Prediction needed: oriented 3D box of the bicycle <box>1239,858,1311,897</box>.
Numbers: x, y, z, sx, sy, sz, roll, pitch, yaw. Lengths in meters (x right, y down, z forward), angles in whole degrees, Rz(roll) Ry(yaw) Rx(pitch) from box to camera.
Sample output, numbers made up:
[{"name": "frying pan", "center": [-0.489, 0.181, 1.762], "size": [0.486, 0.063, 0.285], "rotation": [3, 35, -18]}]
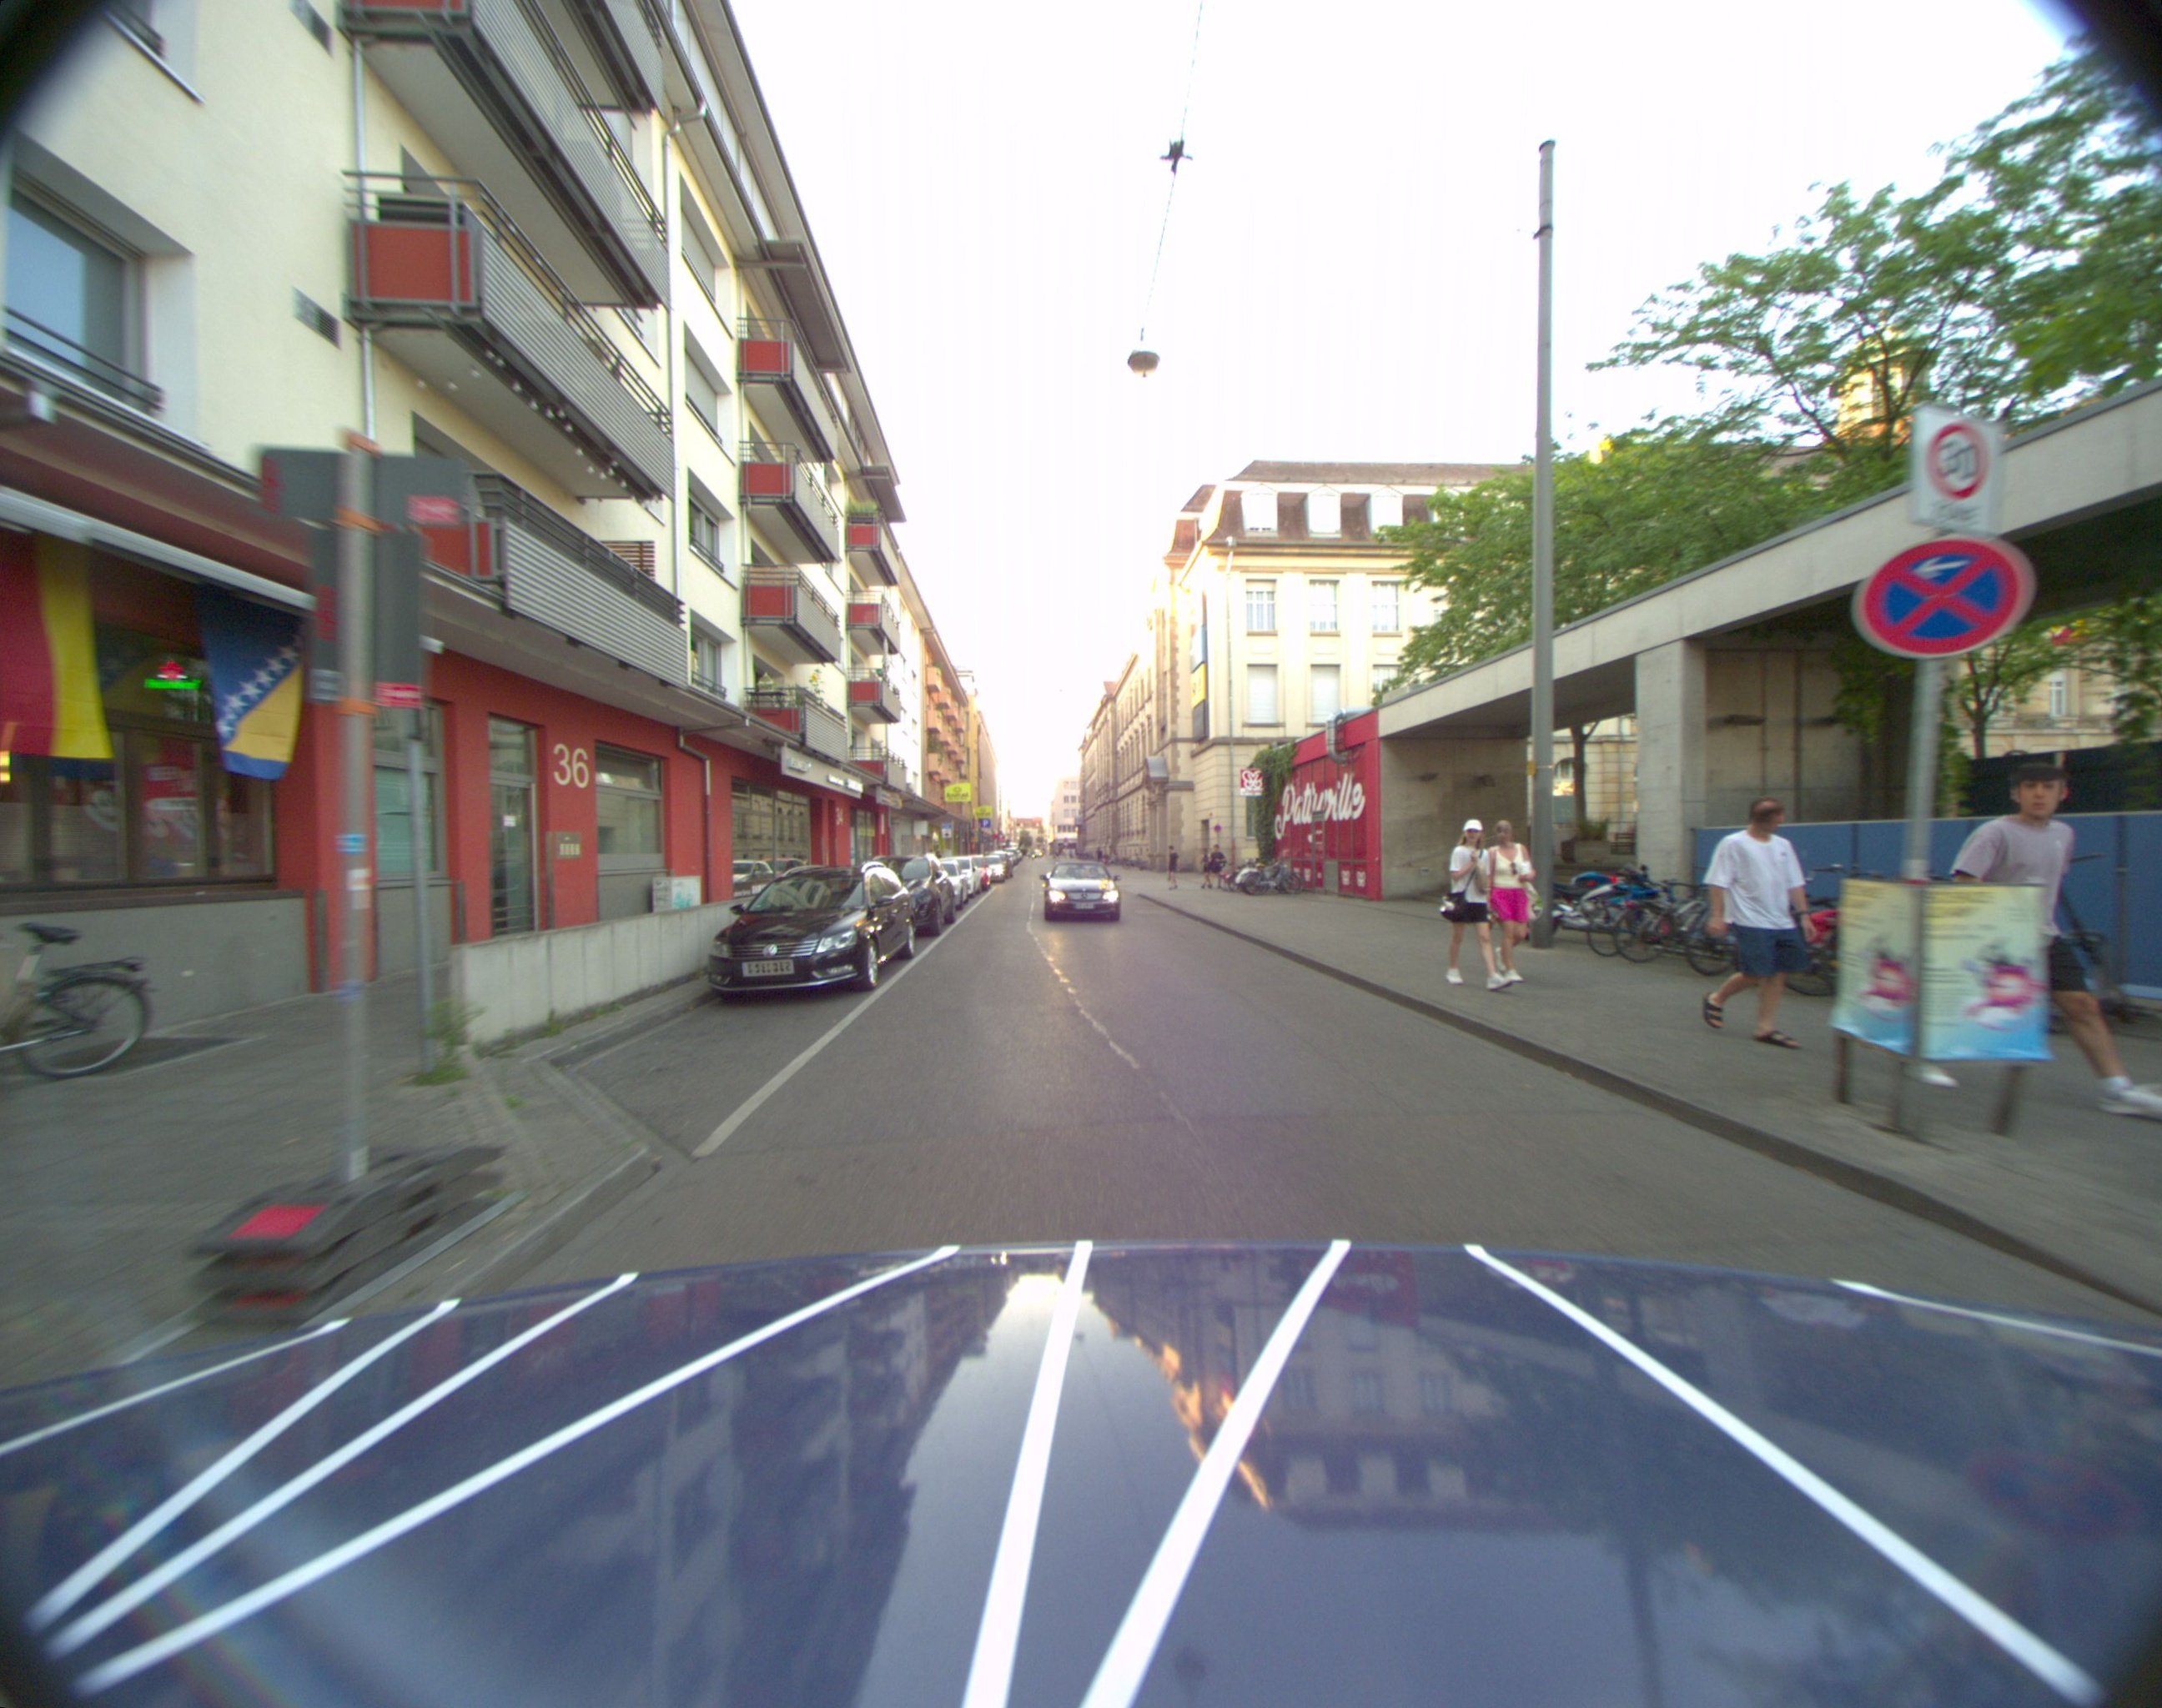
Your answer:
[{"name": "bicycle", "center": [6.244, 0.751, 24.488], "size": [2.180, 1.149, 0.445], "rotation": [-2, 1, 3]}]

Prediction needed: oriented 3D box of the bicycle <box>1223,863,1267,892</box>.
[{"name": "bicycle", "center": [5.945, 0.860, 27.530], "size": [1.501, 0.973, 0.312], "rotation": [-2, 1, -11]}]

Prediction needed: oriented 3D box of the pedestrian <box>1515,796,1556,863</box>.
[{"name": "pedestrian", "center": [12.936, -0.686, 21.652], "size": [0.943, 1.816, 0.834], "rotation": [-2, 1, 31]}]

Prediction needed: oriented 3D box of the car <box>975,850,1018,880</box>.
[{"name": "car", "center": [-5.017, 0.632, 45.688], "size": [1.998, 1.607, 4.367], "rotation": [-2, 0, 1]}]

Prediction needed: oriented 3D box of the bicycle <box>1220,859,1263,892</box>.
[{"name": "bicycle", "center": [5.865, 0.769, 27.844], "size": [1.501, 1.134, 0.312], "rotation": [-2, 1, -11]}]

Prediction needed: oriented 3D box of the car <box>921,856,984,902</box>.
[{"name": "car", "center": [-4.623, 0.865, 27.860], "size": [1.768, 1.468, 3.946], "rotation": [-2, 0, -3]}]

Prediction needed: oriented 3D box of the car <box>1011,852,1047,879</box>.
[{"name": "car", "center": [-3.031, 0.627, 45.225], "size": [1.897, 1.468, 4.300], "rotation": [-2, 0, -1]}]

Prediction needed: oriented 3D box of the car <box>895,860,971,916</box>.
[{"name": "car", "center": [-4.277, 0.930, 22.487], "size": [1.753, 1.395, 3.965], "rotation": [-2, 0, -5]}]

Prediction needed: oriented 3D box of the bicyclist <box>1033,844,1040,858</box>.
[{"name": "bicyclist", "center": [-6.674, -0.467, 113.904], "size": [1.045, 2.002, 1.182], "rotation": [-1, 1, -1]}]

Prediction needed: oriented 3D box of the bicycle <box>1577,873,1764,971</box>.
[{"name": "bicycle", "center": [7.231, 0.818, 9.356], "size": [1.872, 1.081, 0.550], "rotation": [-2, 1, -2]}]

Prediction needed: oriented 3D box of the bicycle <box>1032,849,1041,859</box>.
[{"name": "bicycle", "center": [-6.659, -0.033, 113.954], "size": [1.038, 1.513, 2.822], "rotation": [-1, 1, 1]}]

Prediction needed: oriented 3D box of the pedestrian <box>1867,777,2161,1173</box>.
[{"name": "pedestrian", "center": [5.187, 0.568, 4.074], "size": [0.984, 1.872, 0.890], "rotation": [-2, 1, -1]}]

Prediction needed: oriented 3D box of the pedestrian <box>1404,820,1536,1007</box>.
[{"name": "pedestrian", "center": [3.959, 0.576, 7.804], "size": [0.851, 1.783, 0.869], "rotation": [-2, 1, -1]}]

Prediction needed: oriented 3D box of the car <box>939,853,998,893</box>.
[{"name": "car", "center": [-4.689, 0.753, 32.291], "size": [1.867, 1.468, 4.393], "rotation": [-2, 0, -1]}]

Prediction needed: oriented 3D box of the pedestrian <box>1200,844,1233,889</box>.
[{"name": "pedestrian", "center": [5.306, 0.483, 29.828], "size": [0.922, 1.717, 0.831], "rotation": [-2, 1, -35]}]

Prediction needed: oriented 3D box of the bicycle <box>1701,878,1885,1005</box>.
[{"name": "bicycle", "center": [6.876, 0.824, 7.351], "size": [1.497, 1.105, 0.410], "rotation": [-2, 1, -7]}]

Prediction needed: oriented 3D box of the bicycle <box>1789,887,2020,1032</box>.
[{"name": "bicycle", "center": [6.992, 0.863, 6.474], "size": [1.497, 1.082, 0.547], "rotation": [-2, 1, -7]}]

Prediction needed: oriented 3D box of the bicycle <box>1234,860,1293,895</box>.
[{"name": "bicycle", "center": [6.062, 0.766, 25.300], "size": [1.844, 1.077, 0.354], "rotation": [-2, 1, 3]}]

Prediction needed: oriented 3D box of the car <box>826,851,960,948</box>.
[{"name": "car", "center": [-3.758, 0.818, 15.948], "size": [1.884, 1.689, 4.136], "rotation": [-2, 0, -3]}]

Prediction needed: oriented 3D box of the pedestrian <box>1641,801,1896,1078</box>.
[{"name": "pedestrian", "center": [4.853, 0.558, 5.442], "size": [0.984, 1.783, 0.890], "rotation": [-2, 1, -1]}]

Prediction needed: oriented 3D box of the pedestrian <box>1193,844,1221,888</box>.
[{"name": "pedestrian", "center": [5.117, 0.470, 30.804], "size": [0.921, 1.717, 0.702], "rotation": [-2, 1, -8]}]

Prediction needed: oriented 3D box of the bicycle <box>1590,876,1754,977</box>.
[{"name": "bicycle", "center": [6.830, 0.831, 8.818], "size": [1.496, 1.082, 0.436], "rotation": [-2, 1, 4]}]

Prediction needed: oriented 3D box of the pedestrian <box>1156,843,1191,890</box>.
[{"name": "pedestrian", "center": [3.747, 0.508, 30.772], "size": [1.009, 1.816, 0.944], "rotation": [-3, 1, -25]}]

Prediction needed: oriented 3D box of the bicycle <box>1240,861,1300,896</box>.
[{"name": "bicycle", "center": [6.161, 0.794, 24.852], "size": [1.844, 1.077, 0.354], "rotation": [-2, 1, 3]}]

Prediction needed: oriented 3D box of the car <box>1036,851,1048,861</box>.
[{"name": "car", "center": [-7.907, 0.374, 153.512], "size": [1.998, 2.002, 4.000], "rotation": [-1, 1, 1]}]

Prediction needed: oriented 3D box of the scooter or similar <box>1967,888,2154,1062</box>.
[{"name": "scooter or similar", "center": [7.202, 0.834, 5.578], "size": [1.499, 1.082, 0.410], "rotation": [-3, 1, -21]}]

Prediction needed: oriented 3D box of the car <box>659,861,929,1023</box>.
[{"name": "car", "center": [-3.426, 0.930, 10.179], "size": [1.879, 1.543, 4.630], "rotation": [-2, 0, -1]}]

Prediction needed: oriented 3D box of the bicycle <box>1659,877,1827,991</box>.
[{"name": "bicycle", "center": [6.938, 0.818, 7.981], "size": [1.497, 1.082, 0.410], "rotation": [-2, 1, -7]}]

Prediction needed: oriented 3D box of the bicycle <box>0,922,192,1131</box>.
[{"name": "bicycle", "center": [-6.328, 1.016, 4.178], "size": [0.550, 1.081, 2.005], "rotation": [-2, 0, -3]}]

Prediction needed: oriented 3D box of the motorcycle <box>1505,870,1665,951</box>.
[{"name": "motorcycle", "center": [7.118, 0.799, 10.830], "size": [1.824, 1.063, 0.534], "rotation": [-2, 1, 25]}]

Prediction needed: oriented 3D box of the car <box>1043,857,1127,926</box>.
[{"name": "car", "center": [0.047, 0.815, 18.727], "size": [1.809, 1.399, 4.615], "rotation": [0, 1, -1]}]

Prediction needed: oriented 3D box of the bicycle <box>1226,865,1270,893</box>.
[{"name": "bicycle", "center": [5.986, 0.888, 27.221], "size": [1.501, 0.950, 0.312], "rotation": [-2, 1, -11]}]

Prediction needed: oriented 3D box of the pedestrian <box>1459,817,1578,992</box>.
[{"name": "pedestrian", "center": [4.723, 0.525, 8.253], "size": [0.812, 1.783, 0.736], "rotation": [-2, 1, -1]}]

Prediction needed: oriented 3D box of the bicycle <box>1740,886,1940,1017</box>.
[{"name": "bicycle", "center": [6.934, 0.867, 6.957], "size": [1.497, 1.063, 0.442], "rotation": [-2, 1, -7]}]

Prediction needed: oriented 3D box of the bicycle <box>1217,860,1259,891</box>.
[{"name": "bicycle", "center": [5.828, 0.791, 28.187], "size": [1.501, 1.070, 0.312], "rotation": [-2, 1, -11]}]
